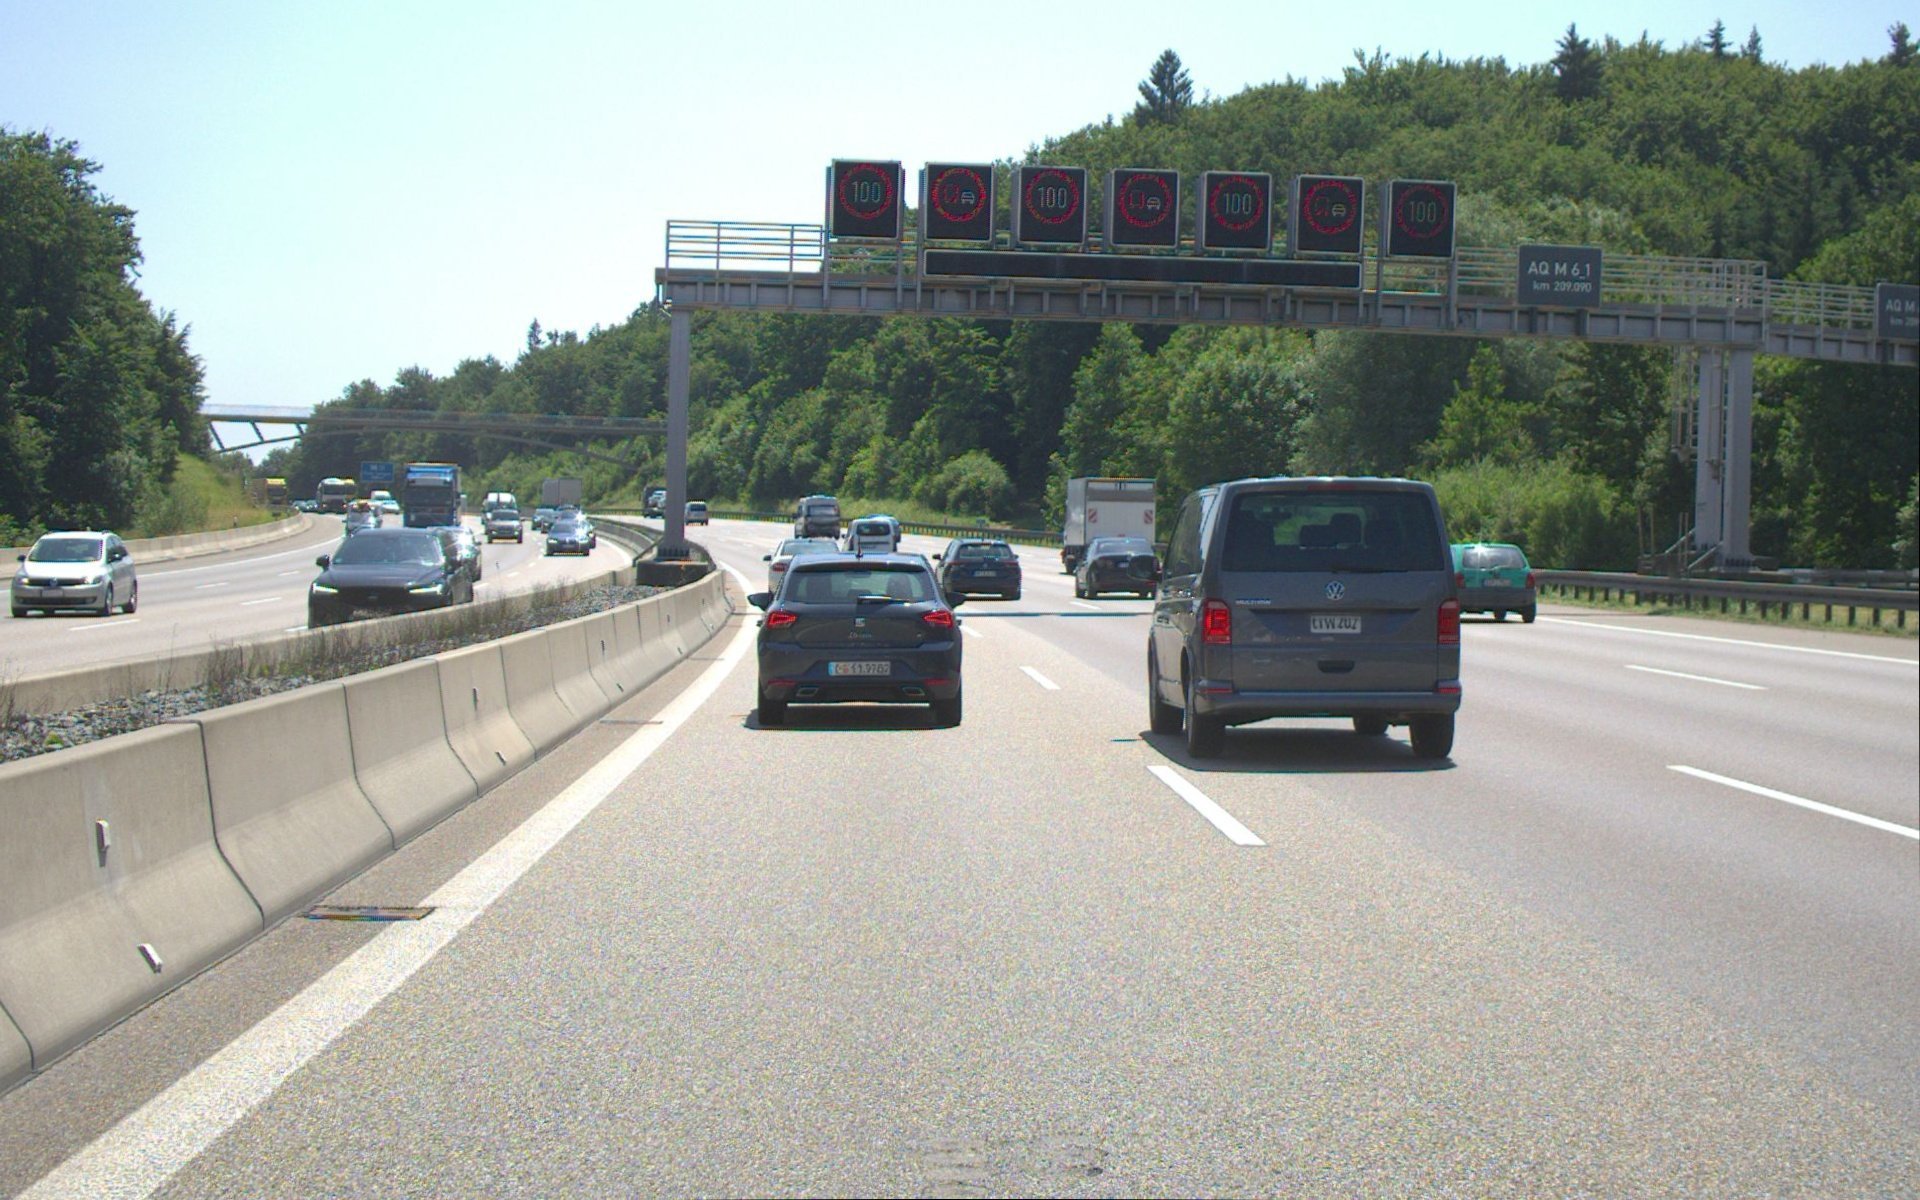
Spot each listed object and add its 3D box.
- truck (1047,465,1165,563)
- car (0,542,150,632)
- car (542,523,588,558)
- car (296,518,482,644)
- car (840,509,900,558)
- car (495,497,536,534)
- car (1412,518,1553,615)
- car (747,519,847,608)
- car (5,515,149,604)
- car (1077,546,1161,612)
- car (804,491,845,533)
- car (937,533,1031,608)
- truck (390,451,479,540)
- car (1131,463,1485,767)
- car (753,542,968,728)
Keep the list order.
[{"bbox_3d":[4.860,-2.933,116.055,2.985,3.156,7.576,0,2,-5],"label":"truck"},{"bbox_3d":[-16.510,-0.269,63.959,1.993,1.526,4.379,1,2,-2],"label":"car"},{"bbox_3d":[-17.363,-2.620,151.323,1.853,1.513,4.522,0,1,-4],"label":"car"},{"bbox_3d":[-7.938,-0.295,48.125,1.993,1.662,4.435,0,1,-2],"label":"car"},{"bbox_3d":[-3.325,-2.466,126.390,2.103,1.738,4.688,0,2,-3],"label":"car"},{"bbox_3d":[-23.744,-4.523,183.728,1.993,1.960,4.784,0,1,-5],"label":"car"},{"bbox_3d":[9.507,-0.626,62.786,1.993,1.722,4.000,0,1,1],"label":"car"},{"bbox_3d":[-3.681,-0.785,76.948,2.012,1.839,4.000,1,-2,-6],"label":"car"},{"bbox_3d":[-16.418,-0.765,64.120,1.717,1.599,4.282,0,1,-2],"label":"car"},{"bbox_3d":[3.735,-0.523,81.486,1.665,1.403,4.904,1,2,-1],"label":"car"},{"bbox_3d":[-7.758,-5.035,197.121,2.265,2.363,4.702,0,1,-2],"label":"car"},{"bbox_3d":[0.545,-0.683,80.697,1.993,1.722,4.149,0,0,-2],"label":"car"},{"bbox_3d":[-25.433,-5.018,166.681,3.785,4.163,5.880,1,1,-5],"label":"truck"},{"bbox_3d":[2.462,0.059,25.604,1.962,2.026,5.084,0,1,-2],"label":"car"},{"bbox_3d":[-0.839,0.247,29.655,1.708,1.428,4.001,1,2,-1],"label":"car"}]
